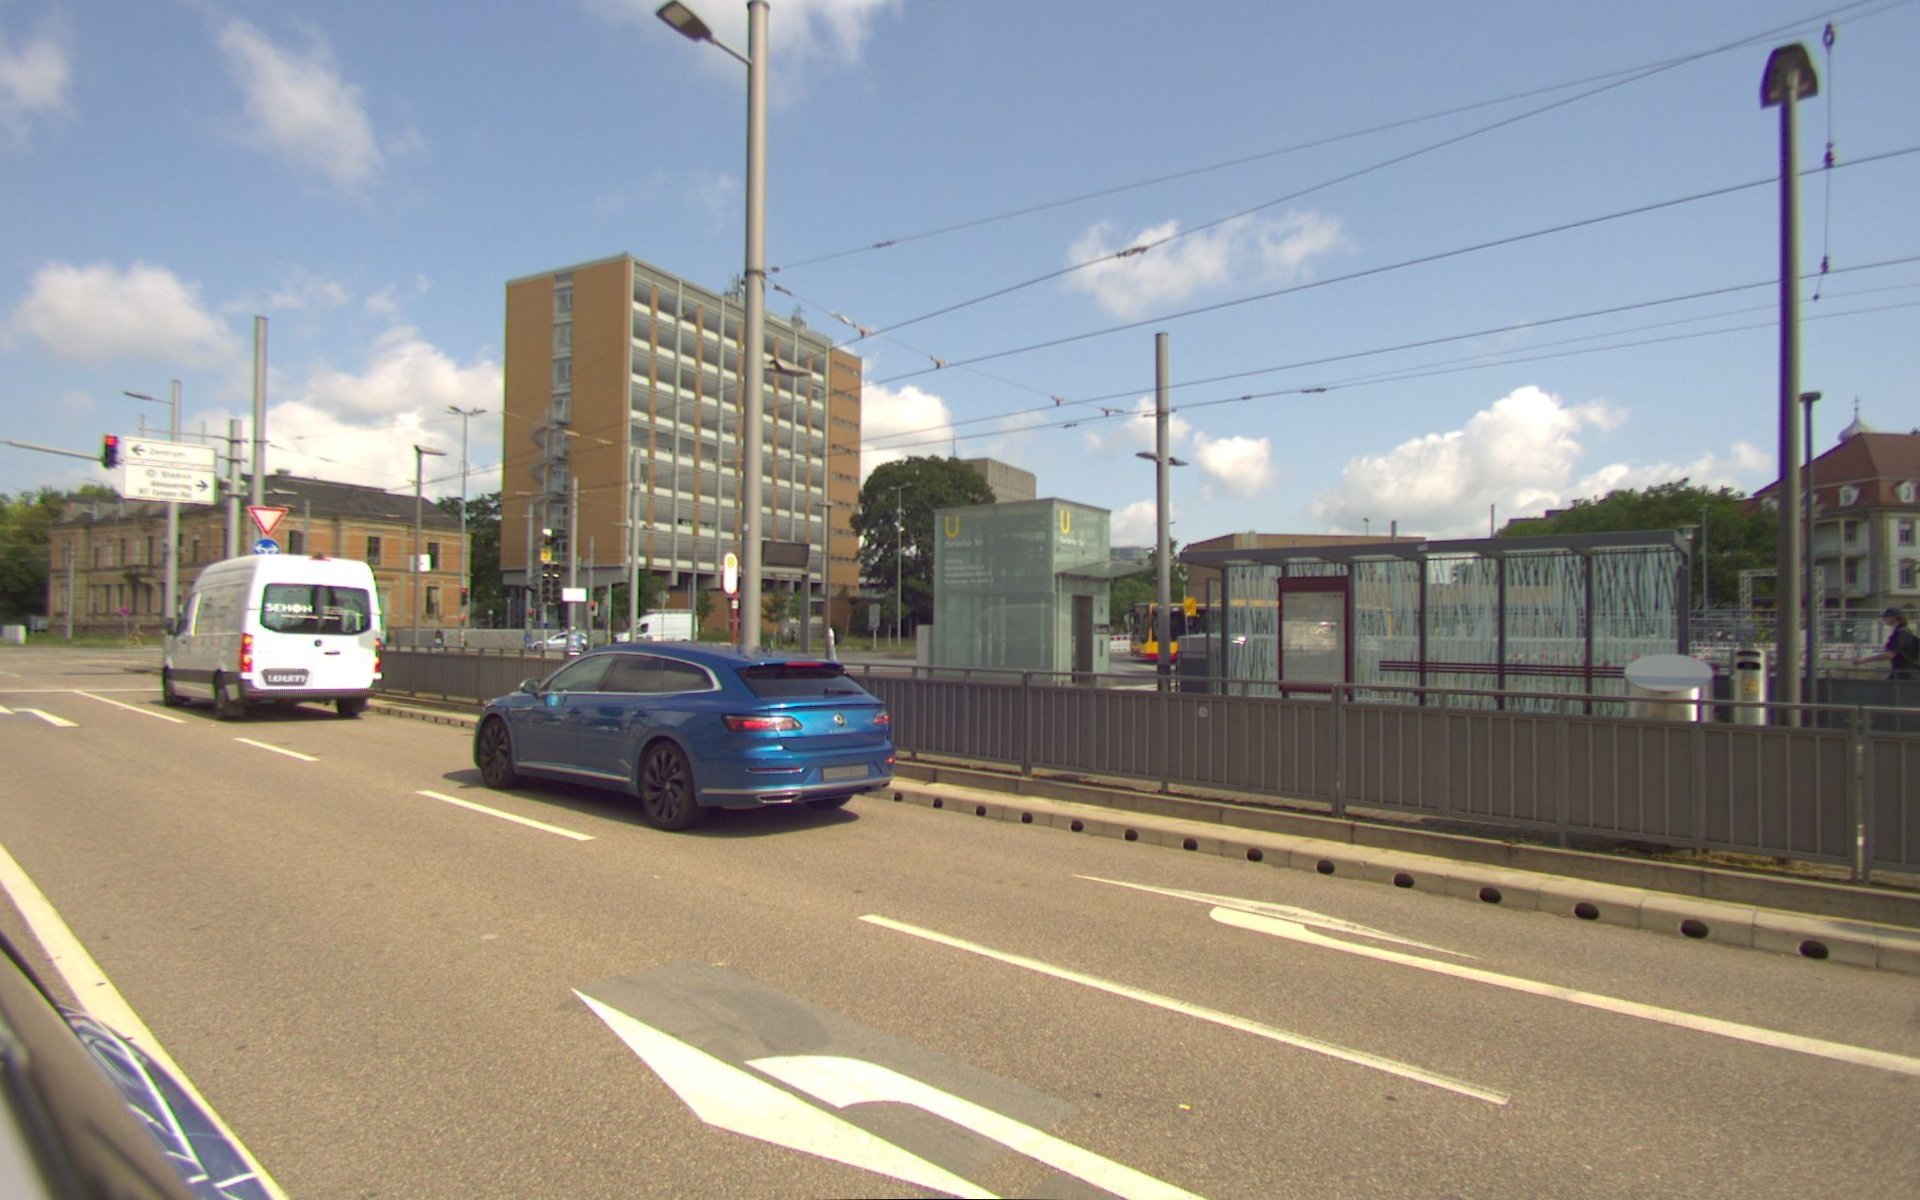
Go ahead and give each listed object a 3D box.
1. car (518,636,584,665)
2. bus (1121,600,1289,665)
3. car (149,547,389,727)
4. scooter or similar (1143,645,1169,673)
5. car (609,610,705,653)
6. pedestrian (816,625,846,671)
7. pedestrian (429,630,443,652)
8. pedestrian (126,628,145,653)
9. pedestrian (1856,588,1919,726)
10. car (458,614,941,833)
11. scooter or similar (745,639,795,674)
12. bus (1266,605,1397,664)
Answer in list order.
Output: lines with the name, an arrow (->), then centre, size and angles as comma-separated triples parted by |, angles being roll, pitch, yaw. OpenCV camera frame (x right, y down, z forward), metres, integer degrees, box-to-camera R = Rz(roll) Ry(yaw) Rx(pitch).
car -> -29.576, 3.637, 73.133 | 4.071, 1.785, 2.006 | 0, 3, -34
bus -> 11.204, 1.486, 46.616 | 6.992, 2.855, 2.703 | 1, -2, -5
car -> -12.021, 0.636, 17.427 | 5.577, 2.642, 1.973 | -1, -3, 41
scooter or similar -> 6.930, 2.074, 35.785 | 0.466, 0.957, 1.665 | 0, -2, -5
car -> -21.417, 2.230, 71.668 | 6.045, 2.901, 2.493 | 2, -2, -33
pedestrian -> -4.999, 1.849, 39.215 | 1.080, 1.702, 0.931 | -1, -1, -8
pedestrian -> -39.490, 3.084, 76.331 | 0.752, 1.600, 0.775 | 1, -2, -16
pedestrian -> -57.375, 2.824, 70.437 | 0.857, 1.750, 0.775 | -1, -2, 32
pedestrian -> 12.965, 0.746, 13.712 | 0.985, 1.813, 1.047 | -1, -3, -43
car -> -2.476, 0.934, 8.962 | 4.551, 1.466, 1.831 | -2, -4, 40
scooter or similar -> -7.607, 2.236, 40.486 | 1.495, 1.198, 1.320 | 4, 3, 43
bus -> 17.213, 1.605, 47.136 | 4.999, 2.607, 2.705 | 1, -2, -6
